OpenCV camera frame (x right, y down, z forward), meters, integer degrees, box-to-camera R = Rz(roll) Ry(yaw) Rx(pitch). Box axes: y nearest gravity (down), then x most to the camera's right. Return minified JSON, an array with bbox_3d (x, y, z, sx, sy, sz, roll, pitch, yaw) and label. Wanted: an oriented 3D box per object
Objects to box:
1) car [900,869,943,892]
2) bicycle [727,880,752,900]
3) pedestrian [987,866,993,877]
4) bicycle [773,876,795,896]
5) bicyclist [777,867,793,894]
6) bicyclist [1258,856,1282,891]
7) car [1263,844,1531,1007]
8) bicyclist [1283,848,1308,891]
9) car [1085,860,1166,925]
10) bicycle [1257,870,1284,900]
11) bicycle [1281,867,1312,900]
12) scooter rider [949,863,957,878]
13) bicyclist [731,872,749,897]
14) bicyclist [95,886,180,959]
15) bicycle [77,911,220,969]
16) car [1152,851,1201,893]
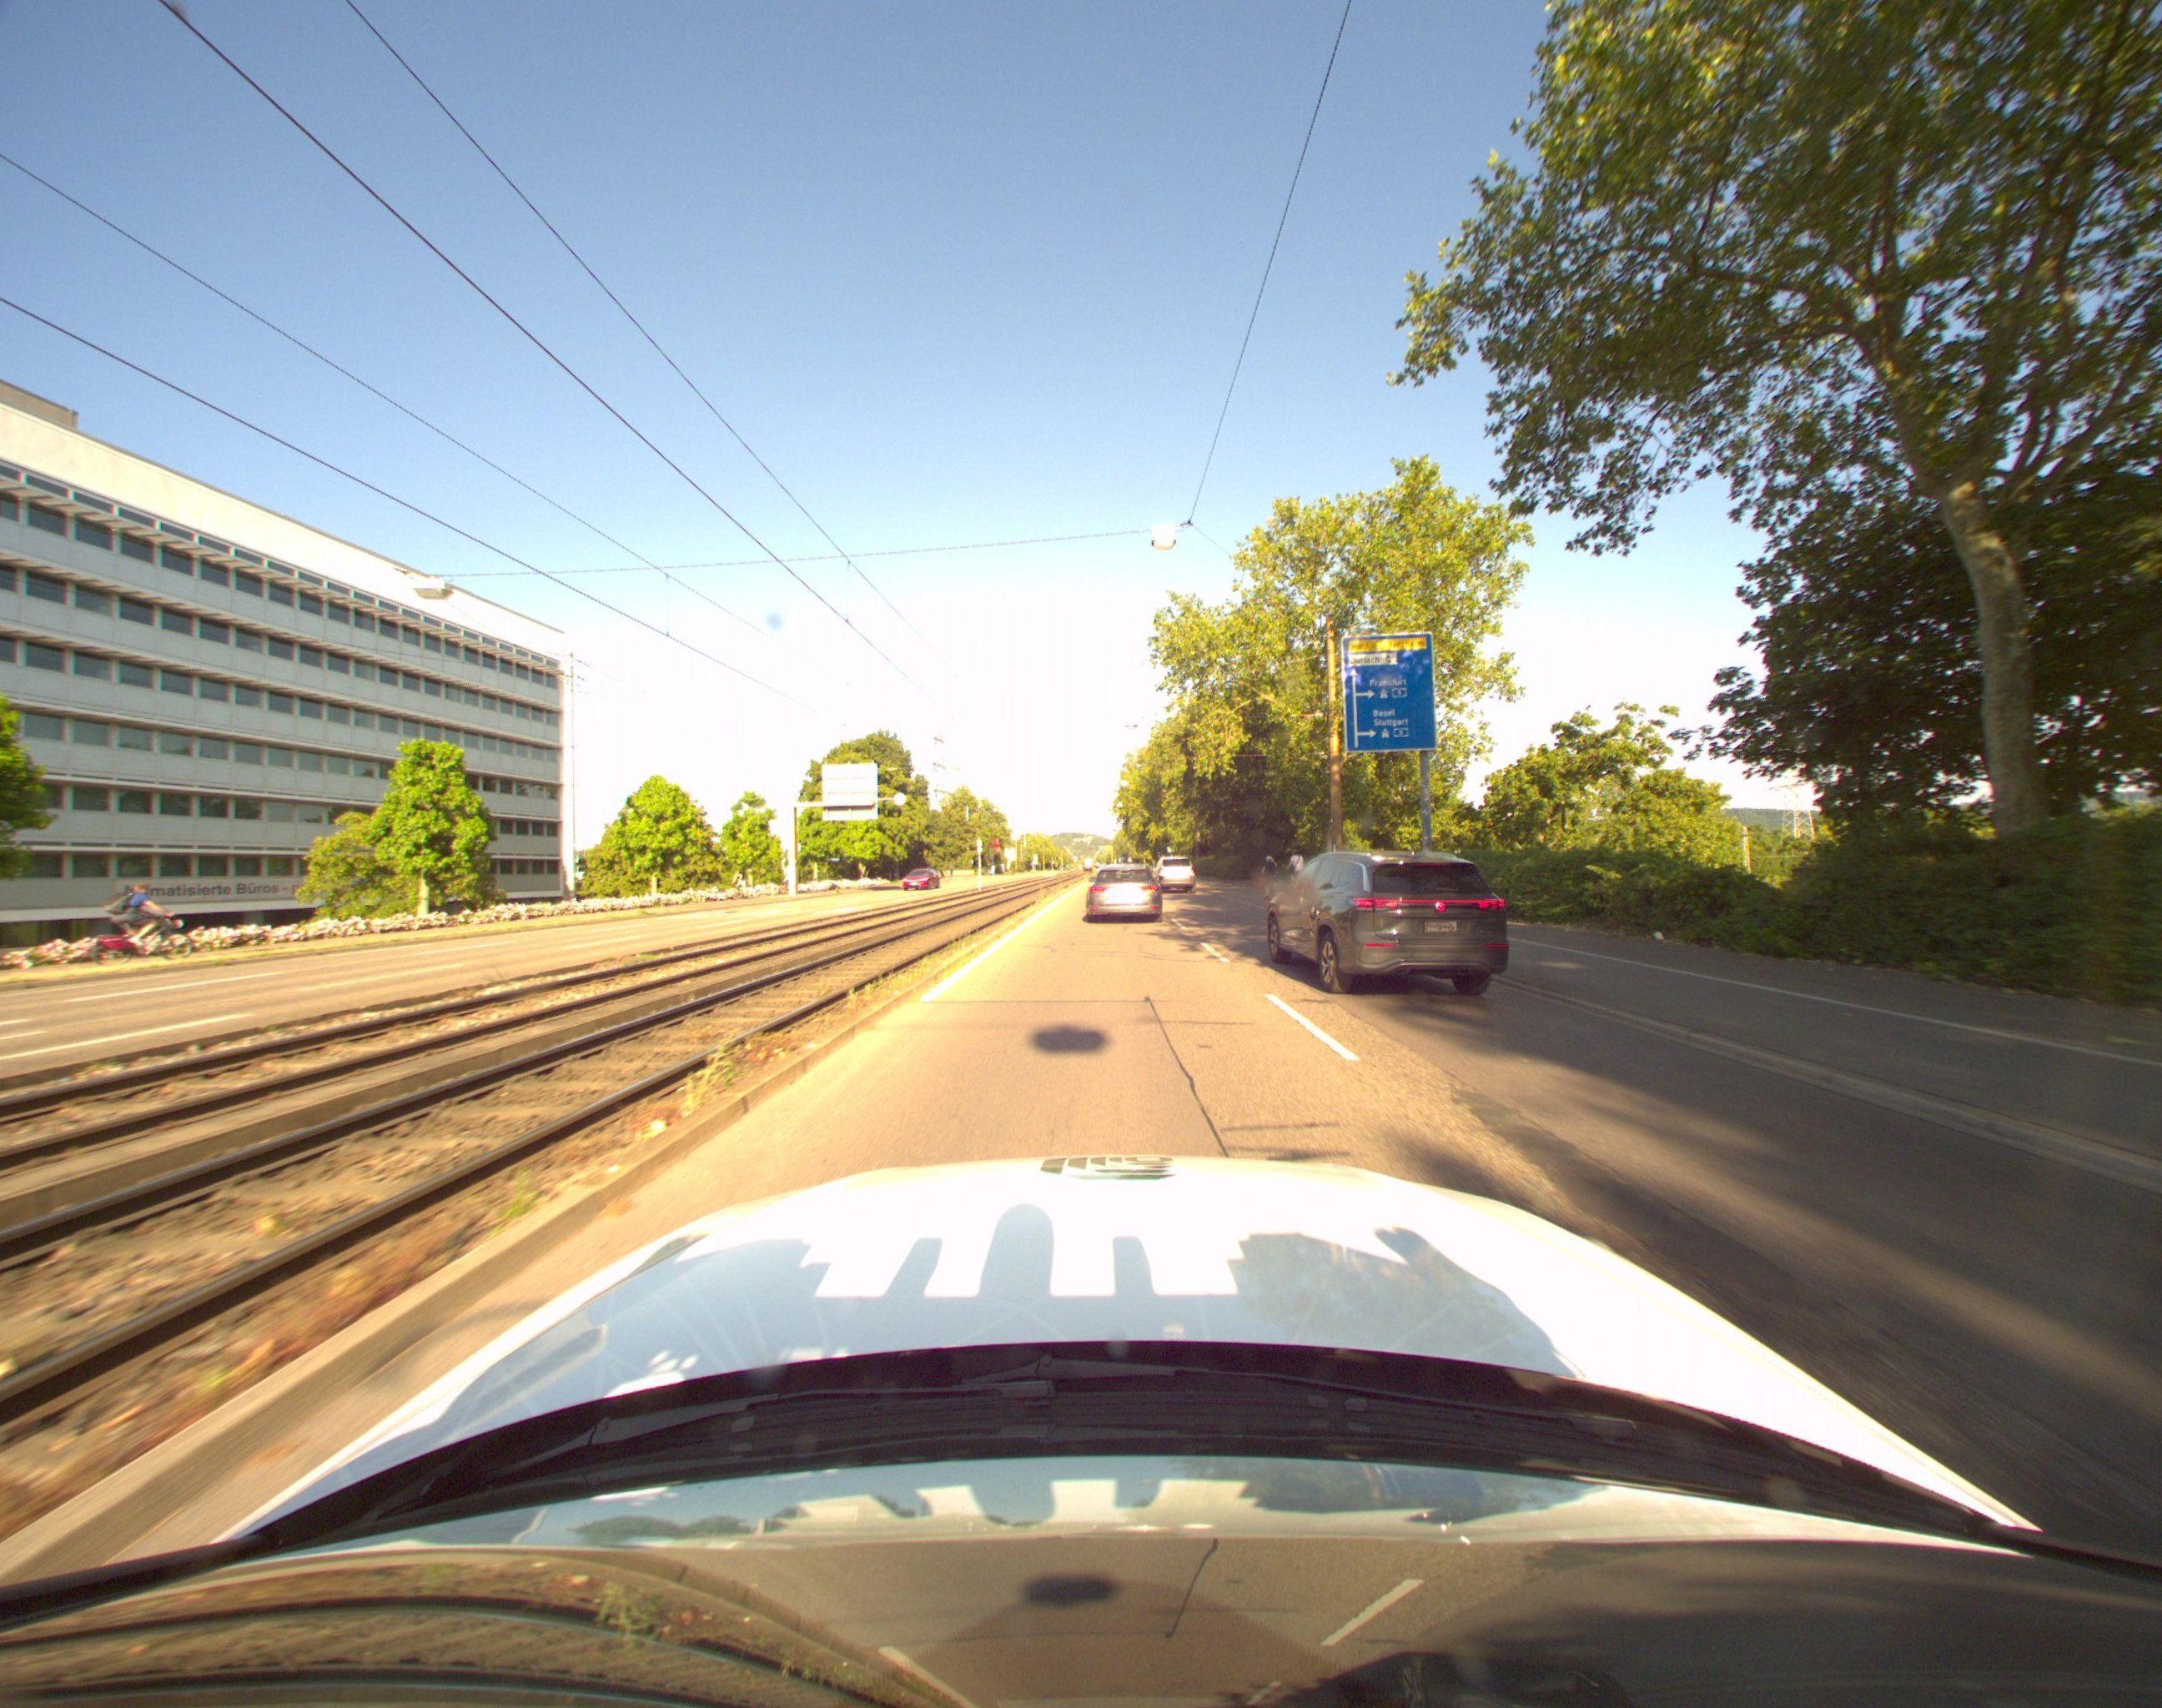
[{"bbox_3d":[-11.665,1.891,59.983,2.032,1.503,4.890,-1,0,2],"label":"car"},{"bbox_3d":[-19.447,2.039,46.429,0.622,1.059,1.704,1,0,2],"label":"bicycle"},{"bbox_3d":[-15.740,3.030,141.007,0.718,1.756,0.840,1,-2,23],"label":"pedestrian"},{"bbox_3d":[-19.106,2.058,52.398,0.600,1.219,1.750,1,0,4],"label":"bicycle"},{"bbox_3d":[-19.092,1.690,52.483,0.600,1.659,0.964,1,0,4],"label":"bicyclist"},{"bbox_3d":[6.766,0.699,29.147,0.638,1.226,0.891,-2,0,1],"label":"bicyclist"},{"bbox_3d":[3.721,0.754,10.533,1.838,1.661,4.440,0,-1,1],"label":"car"},{"bbox_3d":[7.688,0.557,29.213,0.683,1.509,0.891,-1,0,1],"label":"bicyclist"},{"bbox_3d":[1.114,0.935,21.235,1.859,1.467,4.668,-1,-1,2],"label":"car"},{"bbox_3d":[6.772,1.090,29.181,0.563,0.974,1.789,-2,0,1],"label":"bicycle"},{"bbox_3d":[7.707,1.030,29.160,0.620,1.120,1.813,-2,-1,1],"label":"bicycle"},{"bbox_3d":[-16.250,2.124,103.401,0.678,1.848,1.003,-2,-1,9],"label":"scooter rider"},{"bbox_3d":[-19.443,1.713,46.425,0.622,1.374,0.880,1,0,2],"label":"bicyclist"},{"bbox_3d":[-20.897,1.494,18.050,0.701,1.512,0.972,1,0,8],"label":"bicyclist"},{"bbox_3d":[-20.865,1.890,18.294,0.701,1.073,2.032,1,0,8],"label":"bicycle"},{"bbox_3d":[4.438,0.807,38.233,1.877,1.796,4.000,1,0,1],"label":"car"}]
